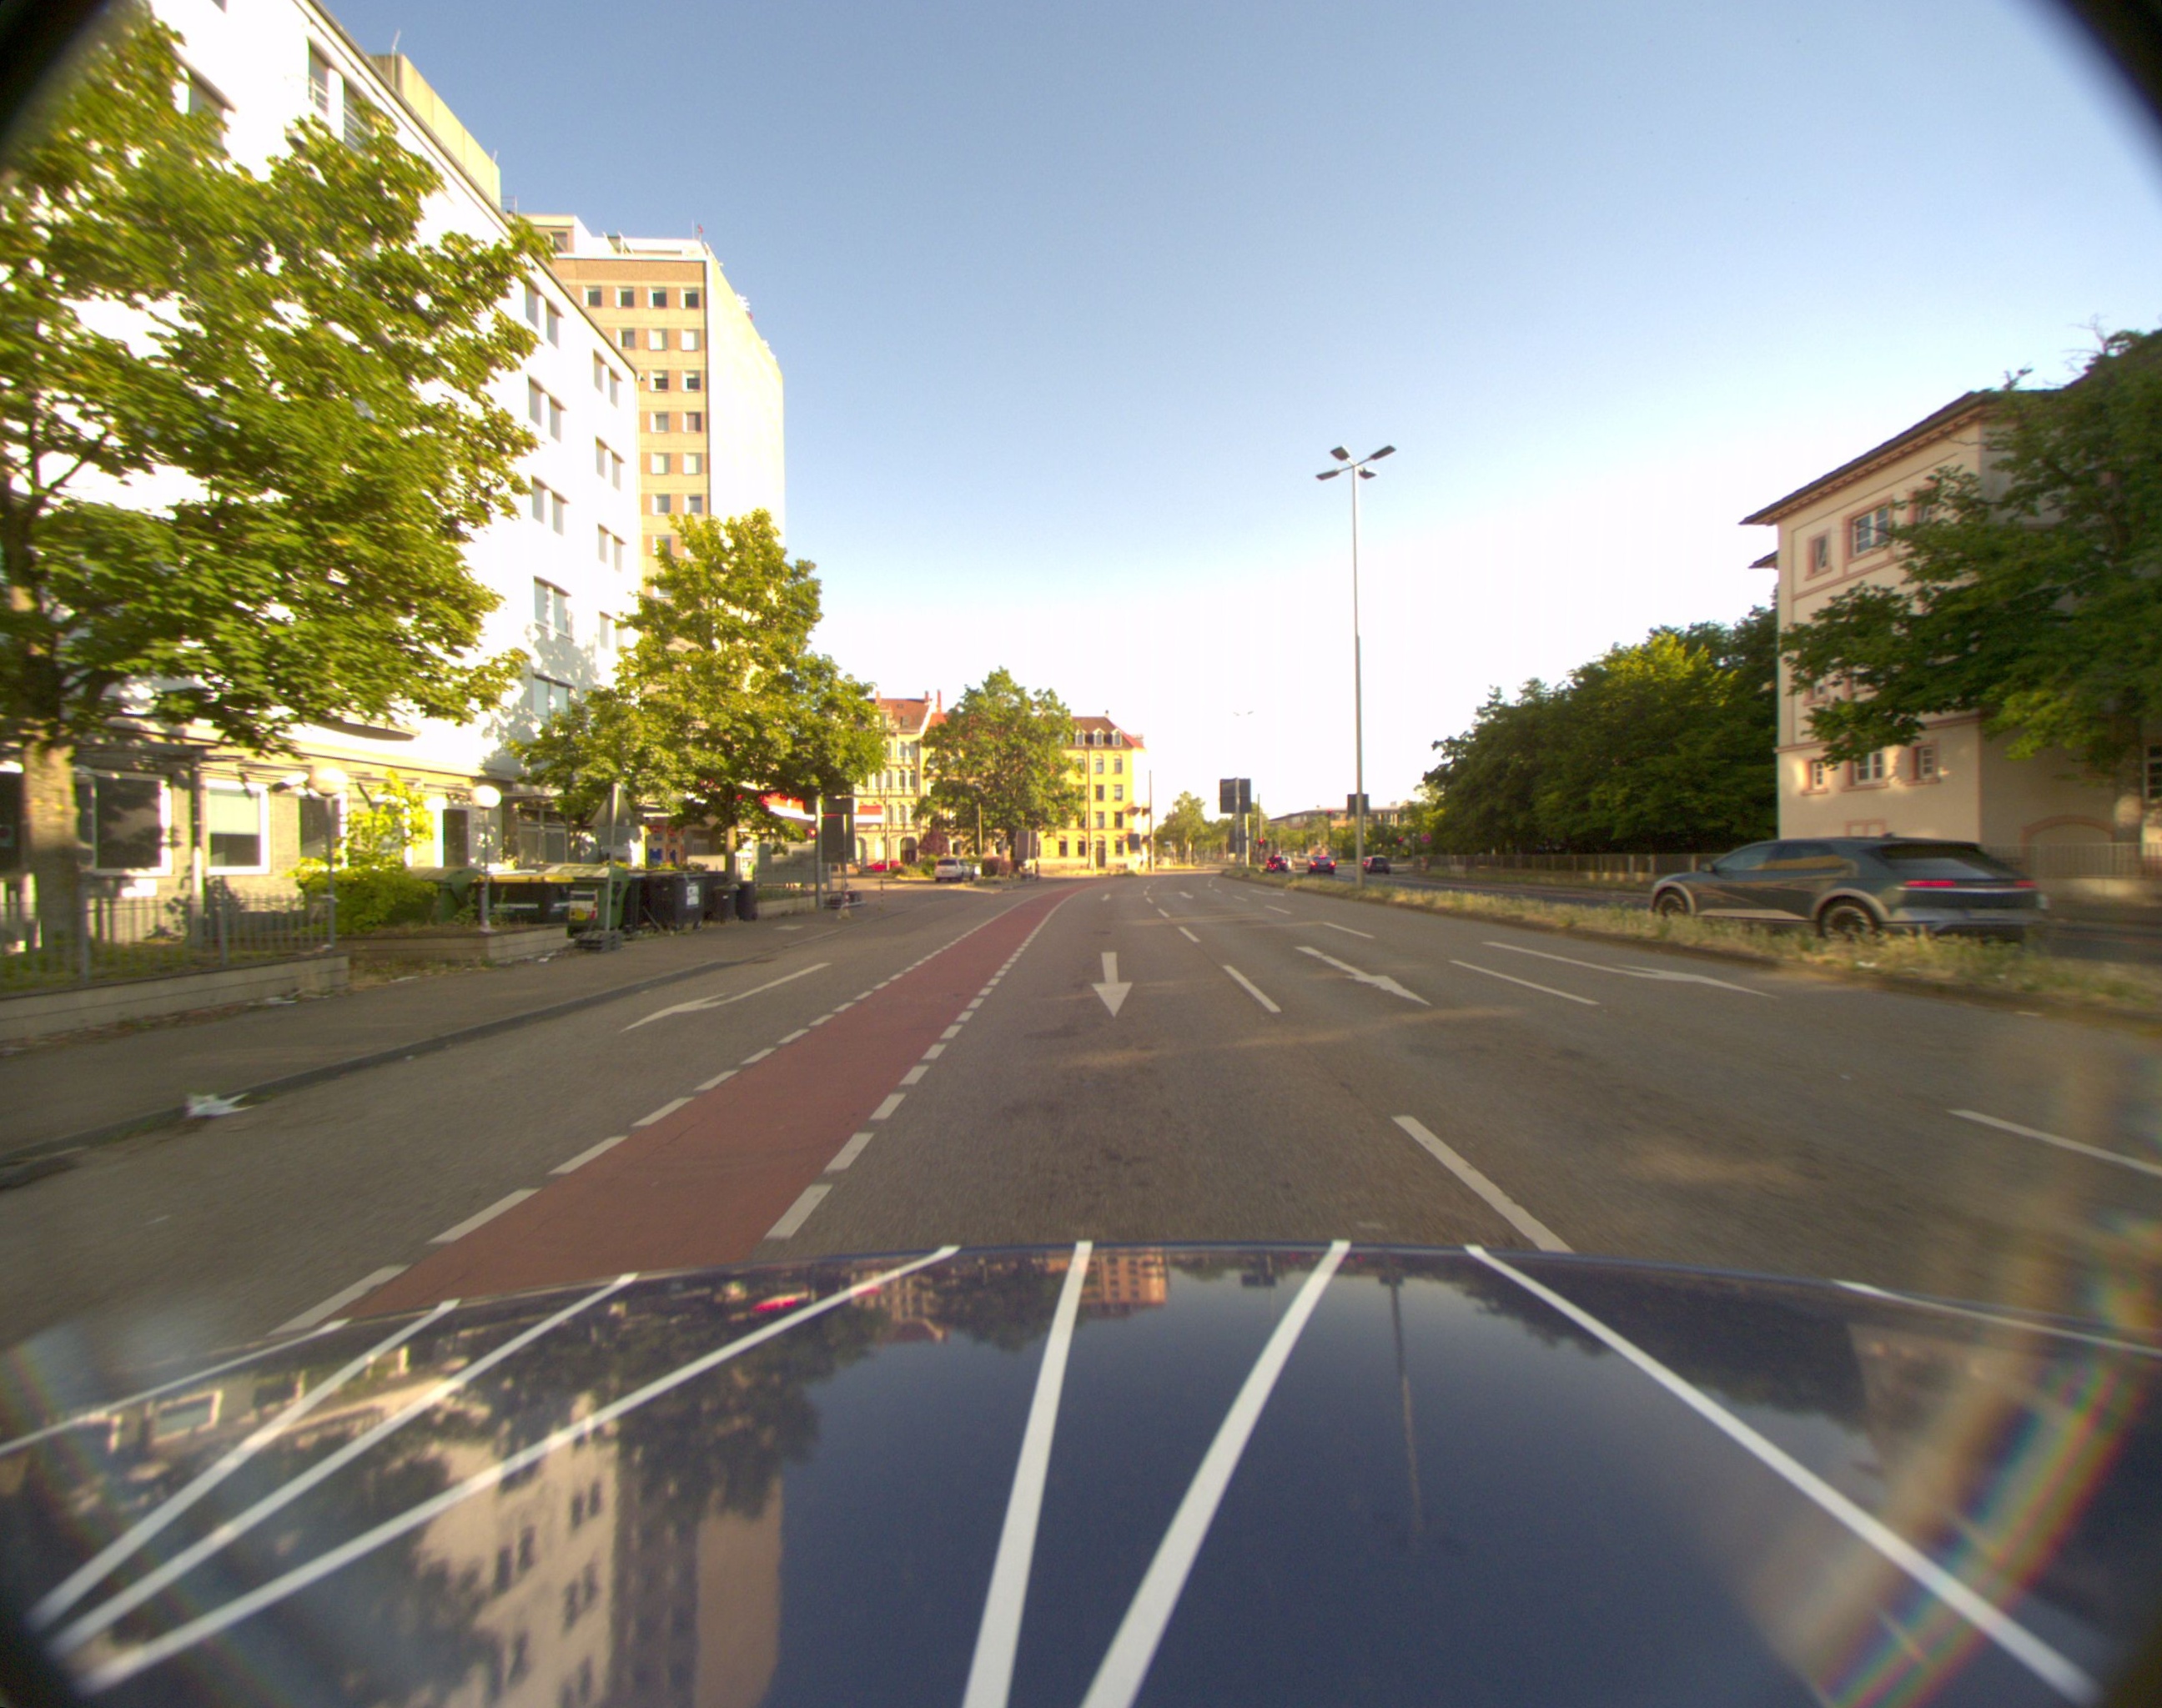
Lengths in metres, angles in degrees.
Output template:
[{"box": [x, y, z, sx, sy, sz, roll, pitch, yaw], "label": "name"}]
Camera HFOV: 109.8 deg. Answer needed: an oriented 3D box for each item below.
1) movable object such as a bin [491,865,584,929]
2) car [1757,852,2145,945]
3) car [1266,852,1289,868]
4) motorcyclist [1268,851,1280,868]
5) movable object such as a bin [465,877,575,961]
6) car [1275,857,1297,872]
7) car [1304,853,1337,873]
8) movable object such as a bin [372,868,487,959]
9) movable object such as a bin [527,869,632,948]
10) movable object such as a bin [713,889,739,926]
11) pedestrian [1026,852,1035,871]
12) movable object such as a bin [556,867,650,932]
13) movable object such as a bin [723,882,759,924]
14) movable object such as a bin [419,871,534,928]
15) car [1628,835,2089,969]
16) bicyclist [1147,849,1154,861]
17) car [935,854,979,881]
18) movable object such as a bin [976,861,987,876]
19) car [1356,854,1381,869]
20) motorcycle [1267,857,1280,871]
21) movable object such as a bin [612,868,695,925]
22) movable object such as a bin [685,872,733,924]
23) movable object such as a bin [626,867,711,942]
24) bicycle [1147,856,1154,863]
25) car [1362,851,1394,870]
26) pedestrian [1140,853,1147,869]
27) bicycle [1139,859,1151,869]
[{"box": [-12.551, 0.978, 17.606, 1.198, 1.412, 1.279, 1, -1, 4], "label": "movable object such as a bin"}, {"box": [15.132, 0.668, 13.723, 1.998, 1.405, 4.444, 0, 0, 2], "label": "car"}, {"box": [17.061, 0.510, 65.856, 1.721, 1.289, 4.382, -1, 0, 18], "label": "car"}, {"box": [15.583, 0.450, 61.447, 0.852, 1.390, 1.063, 0, 0, 18], "label": "motorcyclist"}, {"box": [-9.813, 1.108, 13.358, 1.218, 1.336, 1.054, -1, 0, -14], "label": "movable object such as a bin"}, {"box": [19.528, 0.992, 72.221, 1.720, 1.289, 4.255, -1, 0, 19], "label": "car"}, {"box": [18.931, 0.677, 60.194, 1.997, 1.487, 5.297, -1, 0, 12], "label": "car"}, {"box": [-11.138, 0.996, 13.035, 1.106, 1.476, 0.956, -1, 1, 0], "label": "movable object such as a bin"}, {"box": [-9.996, 1.057, 15.216, 1.330, 1.476, 1.210, -1, 0, -9], "label": "movable object such as a bin"}, {"box": [-8.937, 1.336, 19.131, 0.393, 0.901, 0.490, -1, 1, 4], "label": "movable object such as a bin"}, {"box": [-4.723, 0.707, 70.896, 0.827, 1.778, 0.911, -1, 0, -1], "label": "pedestrian"}, {"box": [-10.988, 1.025, 17.522, 1.311, 1.425, 1.280, 1, -1, 6], "label": "movable object such as a bin"}, {"box": [-8.808, 1.256, 19.706, 0.620, 1.040, 0.616, -1, 1, 4], "label": "movable object such as a bin"}, {"box": [-12.855, 0.949, 16.203, 1.422, 1.122, 1.242, -1, 0, 2], "label": "movable object such as a bin"}, {"box": [11.036, 0.573, 11.514, 1.998, 1.569, 4.899, -1, 0, 0], "label": "car"}, {"box": [10.610, 0.212, 115.665, 1.071, 1.831, 1.303, -1, 0, 5], "label": "bicyclist"}, {"box": [-7.752, 0.833, 47.722, 1.622, 1.584, 3.896, -1, 0, 8], "label": "car"}, {"box": [-6.843, 0.994, 52.276, 0.573, 1.023, 0.674, -1, 1, 5], "label": "movable object such as a bin"}, {"box": [25.731, 0.666, 68.054, 1.721, 1.289, 3.899, -1, 0, 16], "label": "car"}, {"box": [15.561, 0.787, 61.399, 0.859, 1.101, 2.473, -1, 0, 18], "label": "motorcycle"}, {"box": [-10.903, 1.071, 19.428, 1.612, 1.402, 0.865, -1, 1, 0], "label": "movable object such as a bin"}, {"box": [-9.583, 1.120, 19.601, 0.779, 1.301, 0.865, -1, 1, 0], "label": "movable object such as a bin"}, {"box": [-9.060, 1.086, 16.741, 1.095, 1.500, 1.253, -1, 3, 1], "label": "movable object such as a bin"}, {"box": [10.626, 0.815, 115.829, 1.071, 1.018, 2.976, -1, 0, 5], "label": "bicycle"}, {"box": [23.976, 0.542, 61.506, 1.856, 1.455, 4.004, -1, 0, 13], "label": "car"}, {"box": [6.507, 0.749, 78.583, 0.488, 1.622, 0.526, 0, 1, 36], "label": "pedestrian"}, {"box": [6.583, 1.070, 78.539, 0.398, 1.023, 1.675, 0, 0, 37], "label": "bicycle"}]
